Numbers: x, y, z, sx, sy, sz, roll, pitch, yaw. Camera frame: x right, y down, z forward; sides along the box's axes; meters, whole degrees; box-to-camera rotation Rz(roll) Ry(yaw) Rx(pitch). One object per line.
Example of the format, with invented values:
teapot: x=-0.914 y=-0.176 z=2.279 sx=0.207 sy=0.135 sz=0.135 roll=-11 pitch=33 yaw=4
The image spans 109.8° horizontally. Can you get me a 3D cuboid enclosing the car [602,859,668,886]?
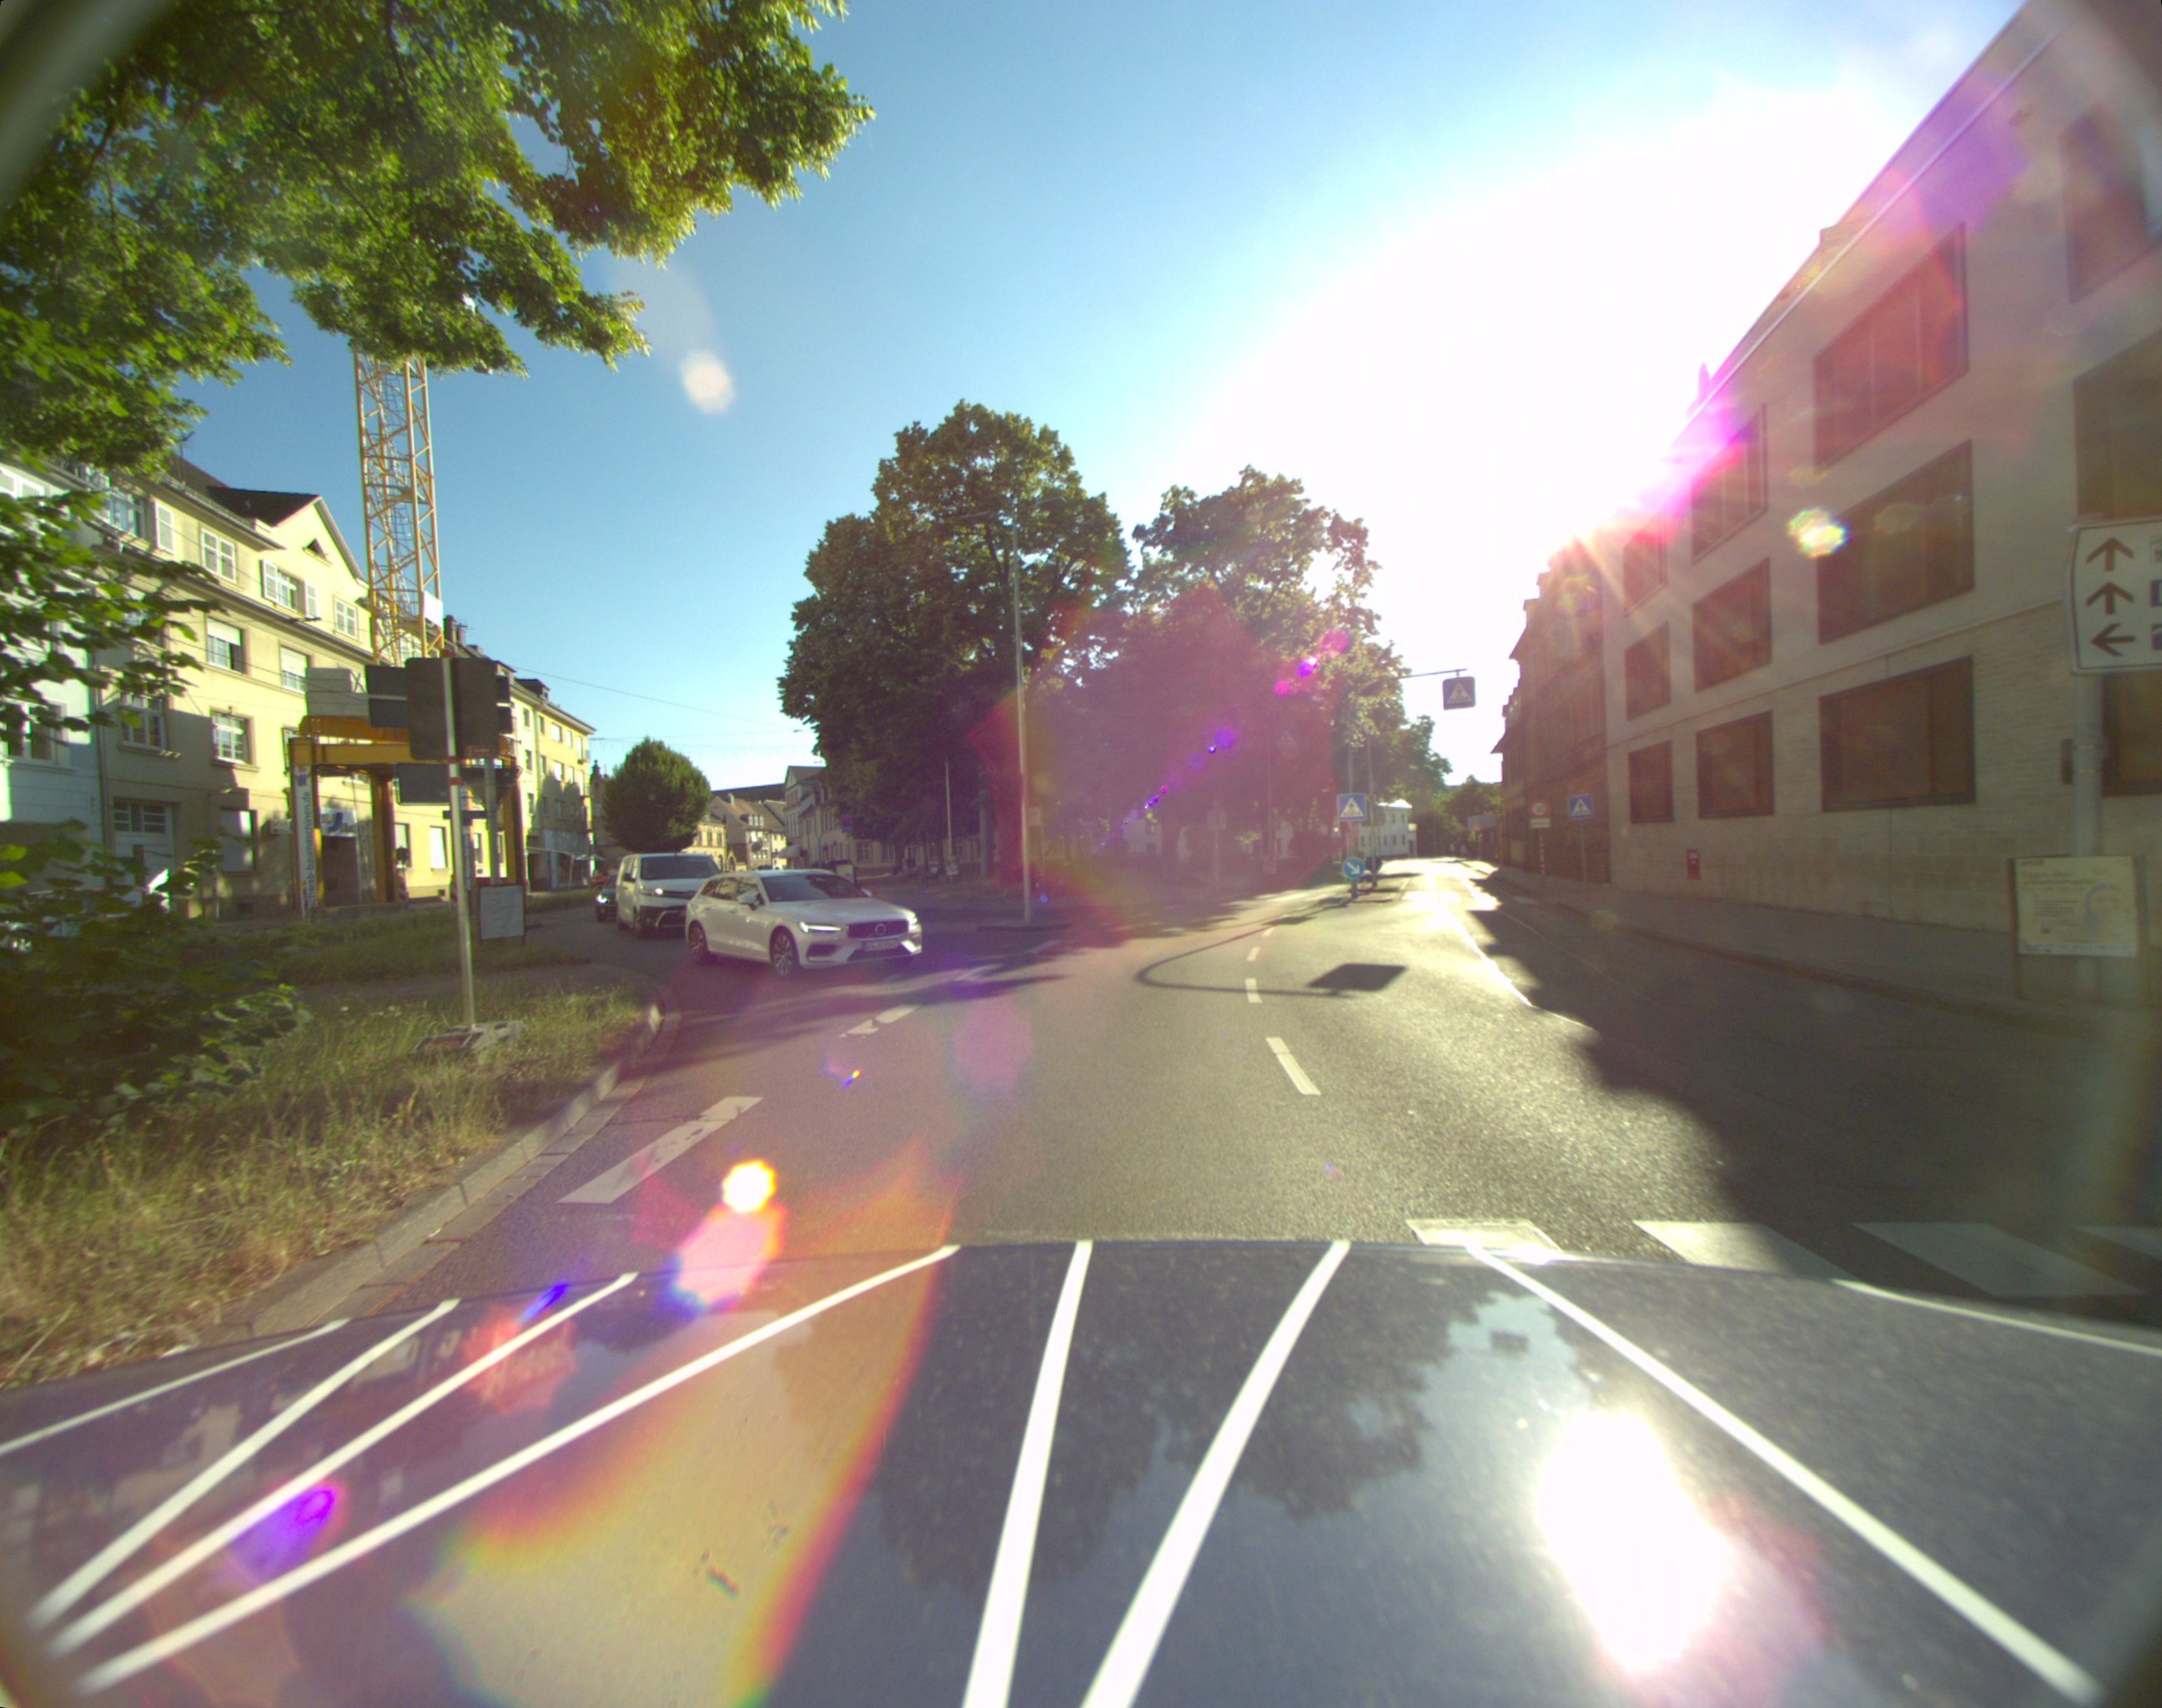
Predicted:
car: x=-34.484 y=1.412 z=58.849 sx=4.075 sy=1.910 sz=1.997 roll=-2 pitch=0 yaw=-21

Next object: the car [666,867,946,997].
car: x=-4.208 y=0.992 z=11.142 sx=4.759 sy=1.455 sz=1.858 roll=-2 pitch=0 yaw=43

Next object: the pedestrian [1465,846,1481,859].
pedestrian: x=40.348 y=-0.125 z=78.166 sx=0.842 sy=1.222 sz=1.156 roll=-4 pitch=0 yaw=-31

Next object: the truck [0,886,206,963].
truck: x=-24.867 y=1.689 z=19.041 sx=2.001 sy=1.576 sz=4.091 roll=-2 pitch=0 yaw=-19

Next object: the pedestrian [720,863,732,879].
pedestrian: x=-45.861 y=2.200 z=98.096 sx=1.357 sy=2.002 sz=1.156 roll=-2 pitch=1 yaw=-27

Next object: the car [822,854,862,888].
car: x=-13.822 y=0.925 z=43.855 sx=2.001 sy=1.783 sz=3.993 roll=-4 pitch=1 yaw=-18

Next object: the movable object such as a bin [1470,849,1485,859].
movable object such as a bin: x=40.566 y=-0.018 z=77.802 sx=0.842 sy=0.923 sz=1.036 roll=-4 pitch=0 yaw=-31

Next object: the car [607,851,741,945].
car: x=-9.662 y=0.949 z=17.810 sx=2.004 sy=1.843 sz=4.890 roll=-2 pitch=0 yaw=-37

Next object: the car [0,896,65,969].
car: x=-23.010 y=1.664 z=14.699 sx=2.001 sy=1.444 sz=4.091 roll=-2 pitch=0 yaw=-19

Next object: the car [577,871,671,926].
car: x=-13.796 y=1.275 z=23.180 sx=2.002 sy=1.436 sz=4.064 roll=-2 pitch=0 yaw=-25
